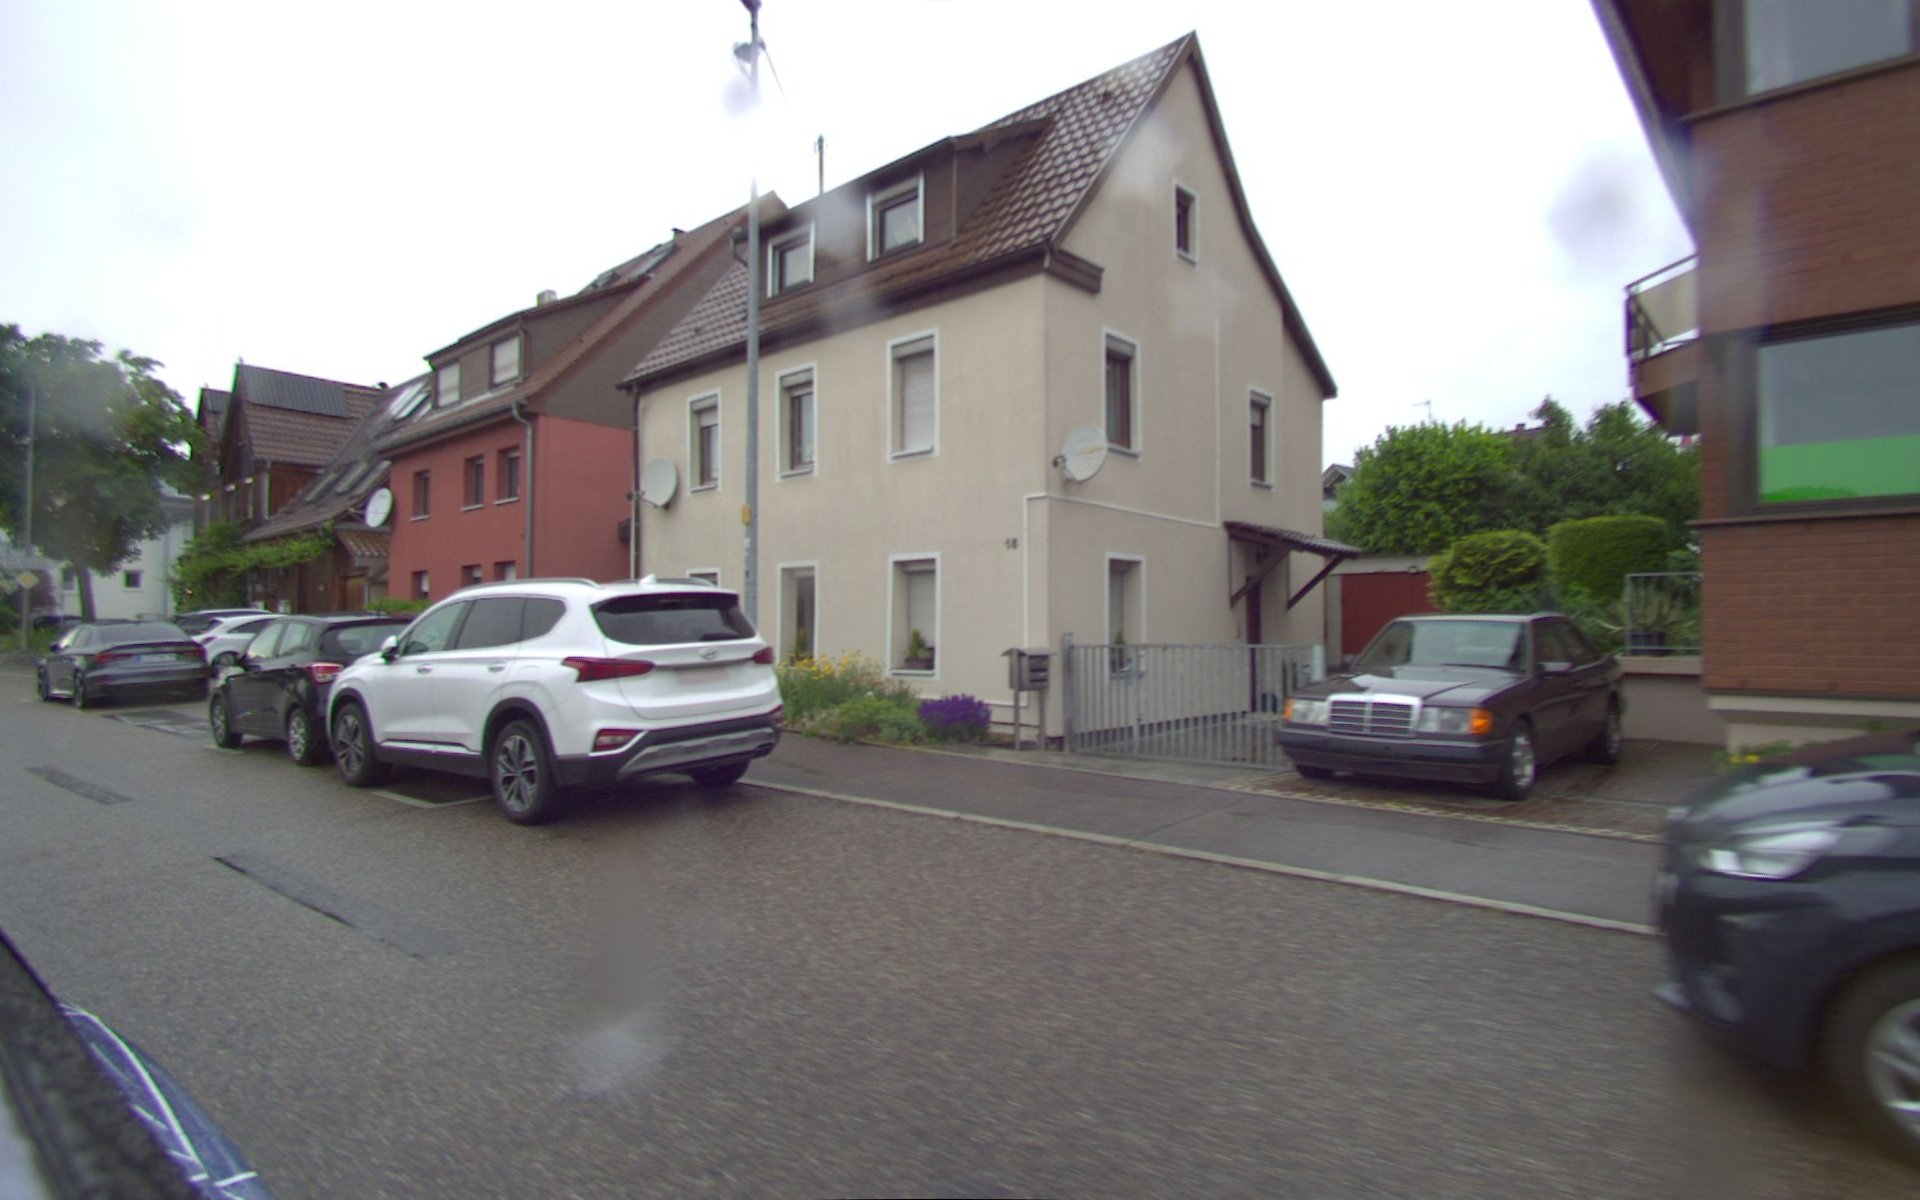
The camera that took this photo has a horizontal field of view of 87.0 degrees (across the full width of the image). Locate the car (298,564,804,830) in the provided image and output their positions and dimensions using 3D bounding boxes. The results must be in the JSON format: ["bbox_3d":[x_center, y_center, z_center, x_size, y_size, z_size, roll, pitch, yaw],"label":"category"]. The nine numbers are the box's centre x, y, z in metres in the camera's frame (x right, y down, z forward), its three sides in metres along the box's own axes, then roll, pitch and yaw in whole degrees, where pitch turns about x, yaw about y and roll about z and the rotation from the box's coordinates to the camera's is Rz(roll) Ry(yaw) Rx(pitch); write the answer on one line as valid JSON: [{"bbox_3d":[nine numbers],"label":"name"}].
[{"bbox_3d":[-3.542,0.648,8.343,4.649,1.631,1.748,-1,-2,37],"label":"car"}]

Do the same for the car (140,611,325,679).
[{"bbox_3d":[-18.590,1.101,25.947,1.855,1.517,3.537,-1,0,43],"label":"car"}]

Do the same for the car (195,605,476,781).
[{"bbox_3d":[-6.877,0.908,11.060,3.272,1.630,1.589,-1,-2,39],"label":"car"}]

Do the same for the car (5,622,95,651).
[{"bbox_3d":[-46.683,1.871,51.935,3.592,1.432,1.769,0,-2,15],"label":"car"}]

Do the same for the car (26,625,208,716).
[{"bbox_3d":[-14.788,1.143,17.689,4.105,1.366,1.611,-1,0,38],"label":"car"}]

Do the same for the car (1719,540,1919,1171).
[{"bbox_3d":[3.883,0.607,2.172,3.562,1.508,1.563,-1,-2,38],"label":"car"}]

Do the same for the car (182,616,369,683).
[{"bbox_3d":[-16.390,1.150,24.343,1.590,1.490,3.425,-1,-2,41],"label":"car"}]

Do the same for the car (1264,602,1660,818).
[{"bbox_3d":[4.474,0.792,8.724,4.123,1.414,1.790,2,-3,-44],"label":"car"}]
